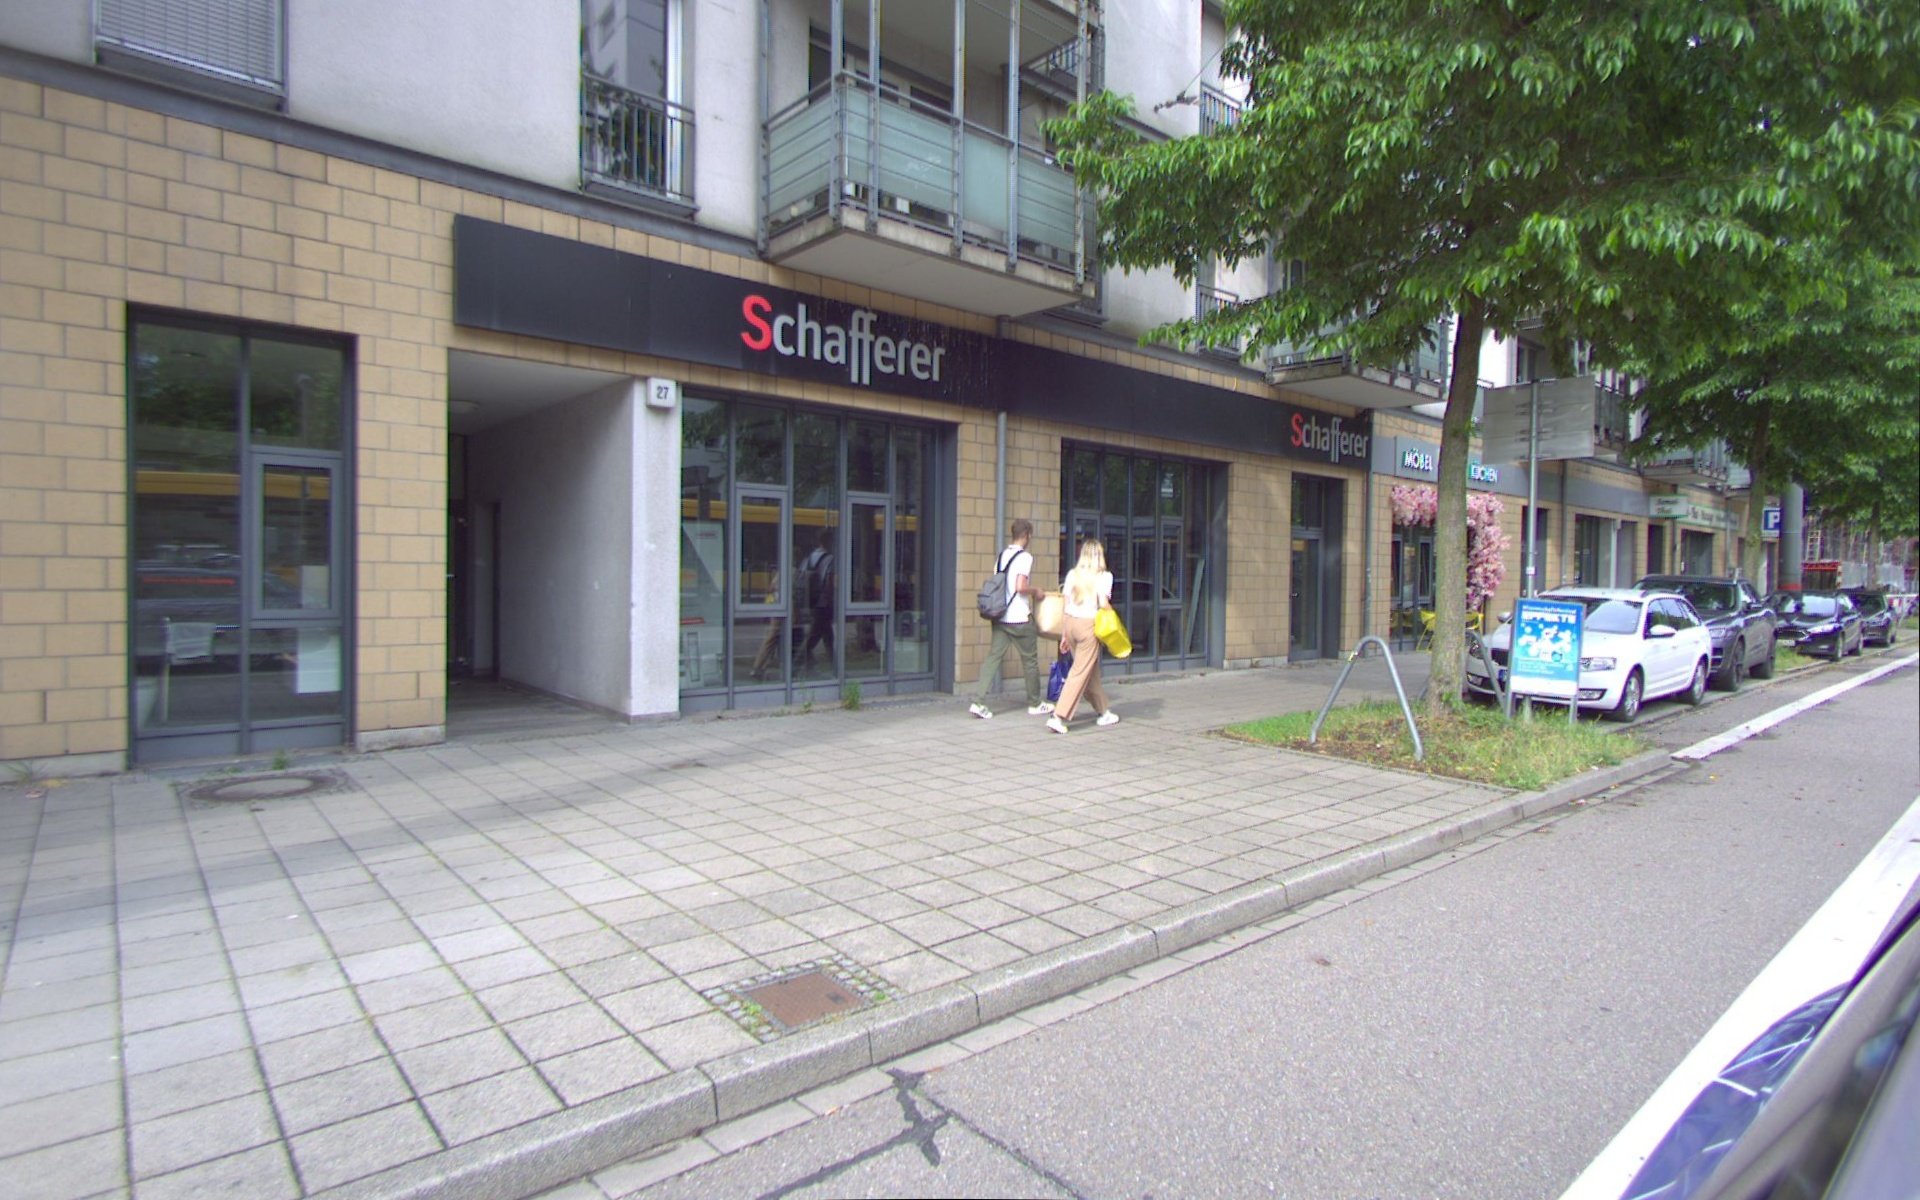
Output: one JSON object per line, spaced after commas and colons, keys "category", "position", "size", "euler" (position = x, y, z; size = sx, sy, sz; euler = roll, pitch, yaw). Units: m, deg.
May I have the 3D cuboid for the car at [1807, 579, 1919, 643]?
{"category": "car", "position": [24.301, 0.232, 27.186], "size": [4.315, 1.472, 1.800], "euler": [-1, 5, -43]}

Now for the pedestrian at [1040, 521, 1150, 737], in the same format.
{"category": "pedestrian", "position": [1.202, 0.229, 9.010], "size": [0.724, 1.828, 0.617], "euler": [0, 2, -39]}

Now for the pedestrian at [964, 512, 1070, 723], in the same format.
{"category": "pedestrian", "position": [0.542, 0.144, 9.667], "size": [0.724, 1.914, 0.677], "euler": [0, 2, -39]}

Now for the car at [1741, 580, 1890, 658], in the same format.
{"category": "car", "position": [18.712, 0.332, 22.078], "size": [4.329, 1.459, 1.681], "euler": [-1, 4, -40]}

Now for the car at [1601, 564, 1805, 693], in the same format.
{"category": "car", "position": [12.068, 0.338, 16.315], "size": [4.632, 1.737, 1.715], "euler": [-1, 5, -42]}

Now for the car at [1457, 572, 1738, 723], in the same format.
{"category": "car", "position": [8.120, 0.459, 12.738], "size": [4.312, 1.517, 1.681], "euler": [-1, 4, -40]}
